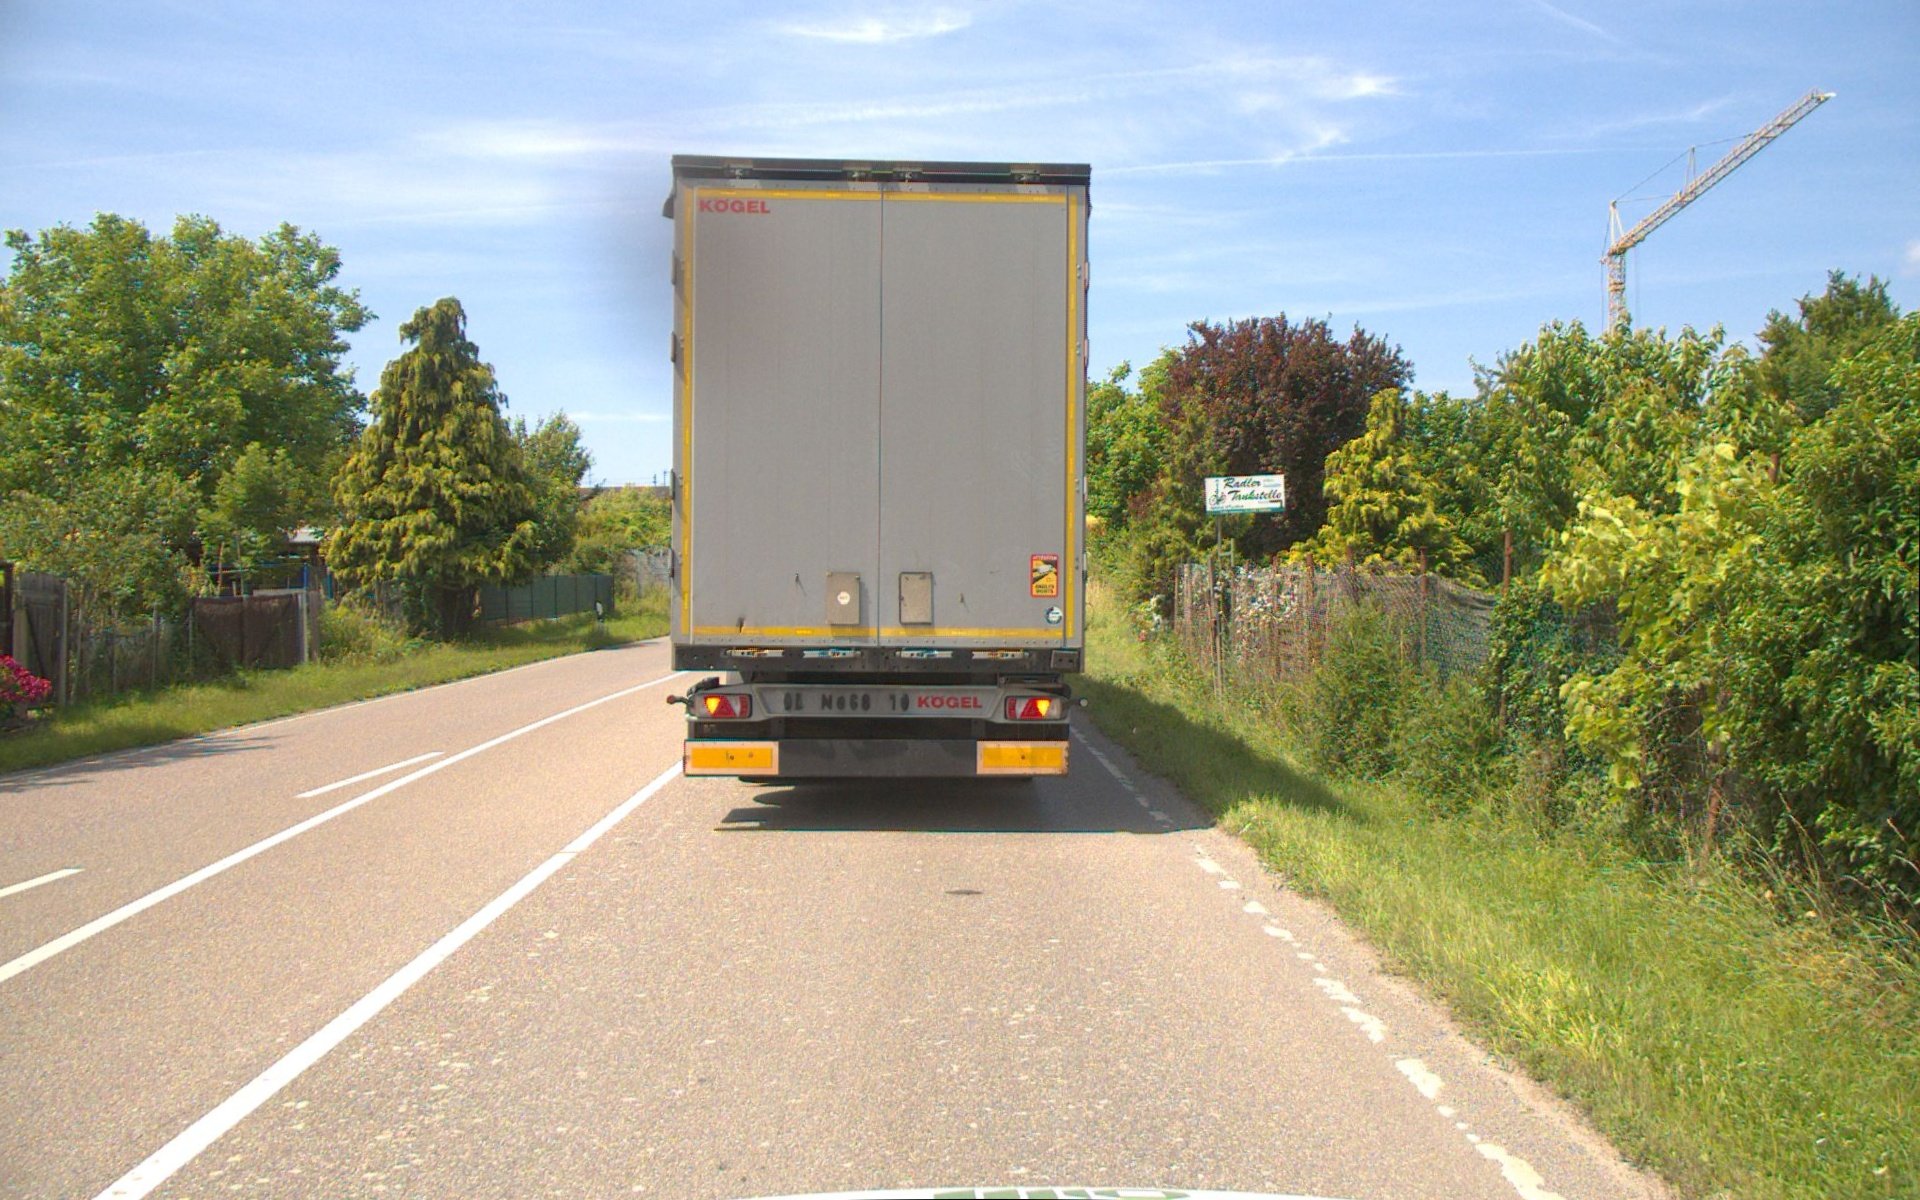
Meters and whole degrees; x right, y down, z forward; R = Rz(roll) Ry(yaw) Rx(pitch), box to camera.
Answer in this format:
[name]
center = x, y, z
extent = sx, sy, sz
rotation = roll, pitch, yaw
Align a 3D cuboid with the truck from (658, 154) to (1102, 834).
[truck]
center = -0.683, -0.662, 14.173
extent = 2.594, 3.985, 8.820
rotation = 0, 1, -3
